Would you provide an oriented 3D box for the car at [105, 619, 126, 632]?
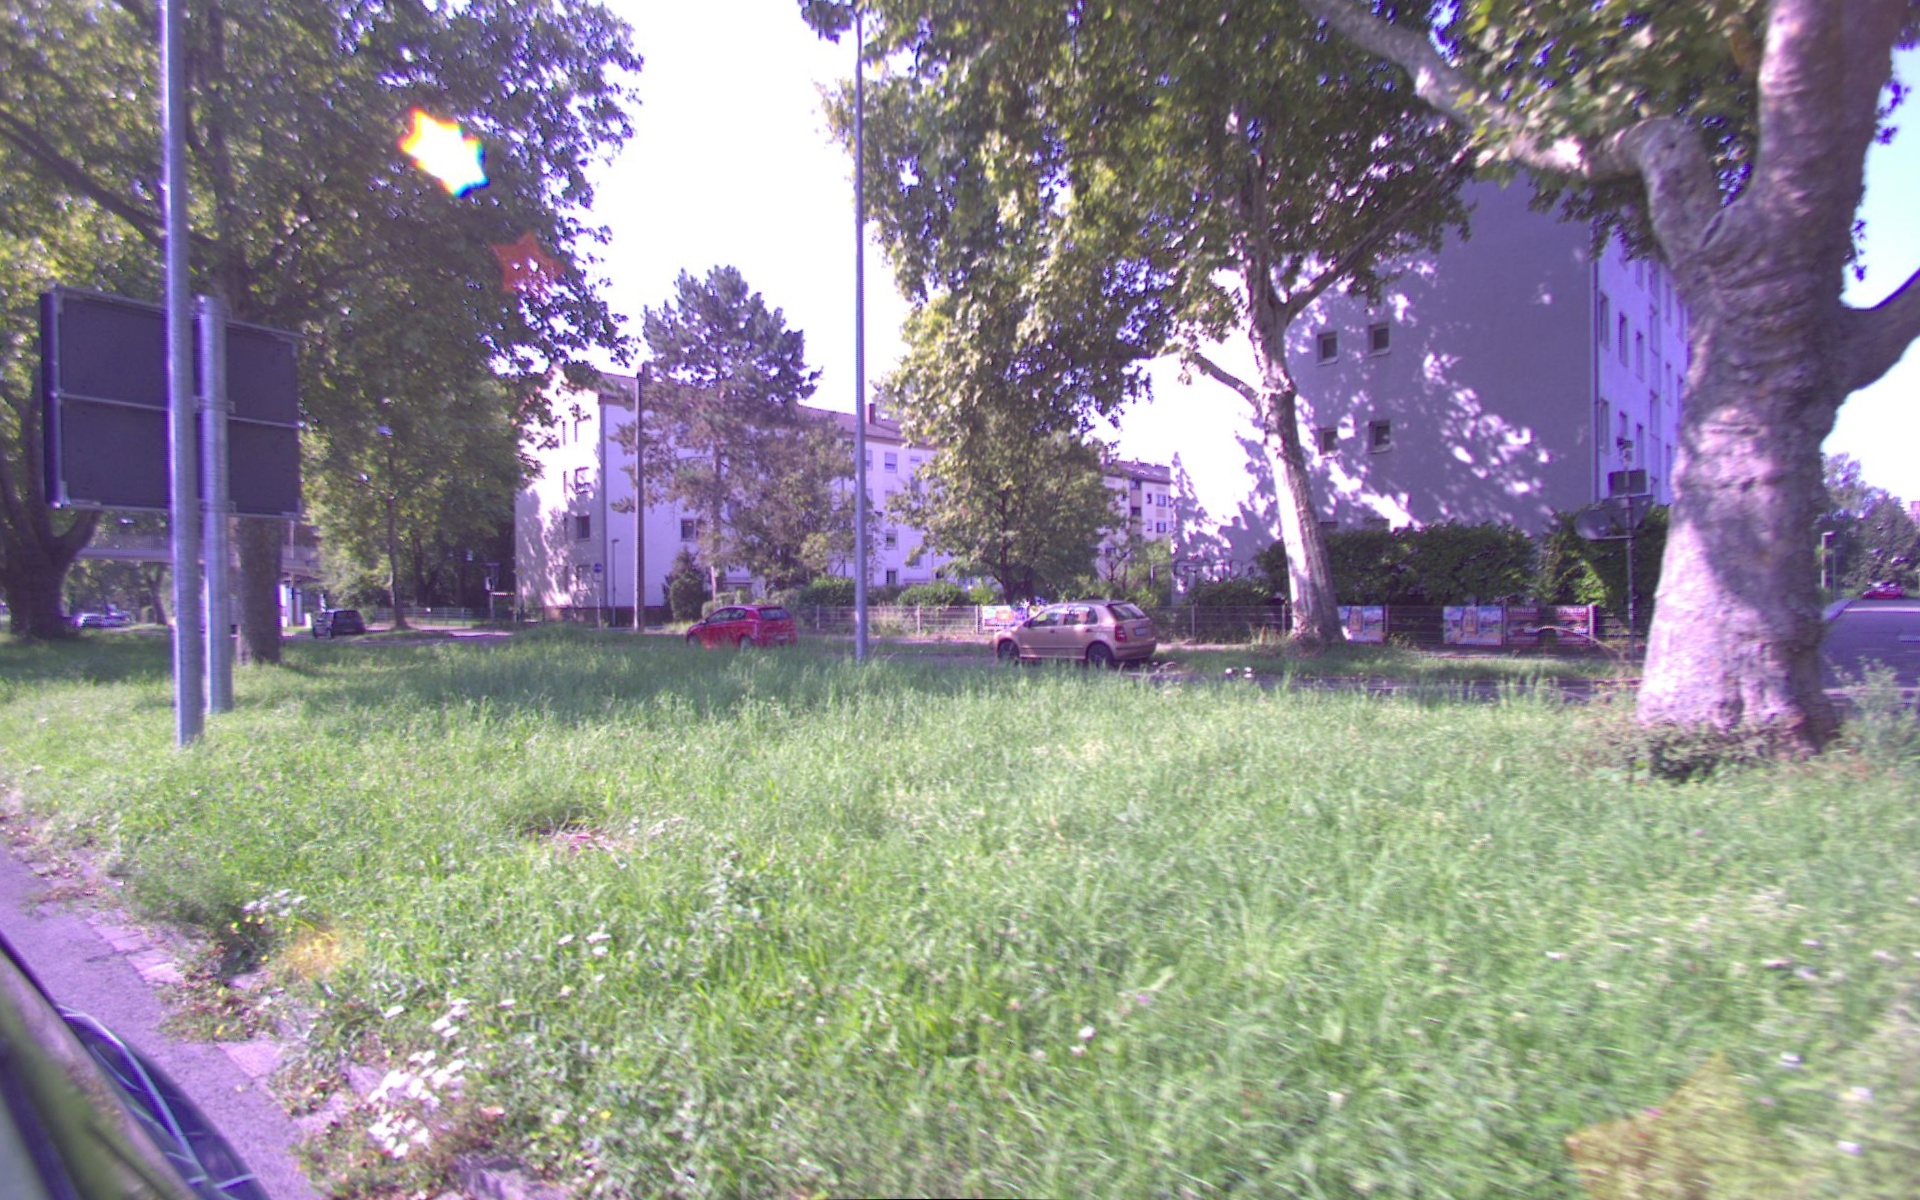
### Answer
[{"bbox_3d":[-100.680,3.010,120.675,1.626,1.490,3.901,-1,1,-45],"label":"car"}]

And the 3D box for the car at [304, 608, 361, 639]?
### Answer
[{"bbox_3d":[-33.265,1.223,53.634,3.862,1.544,1.507,0,0,41],"label":"car"}]

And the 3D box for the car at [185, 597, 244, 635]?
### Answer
[{"bbox_3d":[-52.895,1.098,71.766,6.265,2.448,2.184,-1,3,43],"label":"car"}]

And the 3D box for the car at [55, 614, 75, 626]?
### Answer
[{"bbox_3d":[-125.739,2.758,142.214,4.458,1.544,1.767,-1,1,45],"label":"car"}]

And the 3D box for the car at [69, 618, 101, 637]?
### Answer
[{"bbox_3d":[-86.389,2.708,99.889,4.718,1.733,1.783,-1,-1,42],"label":"car"}]

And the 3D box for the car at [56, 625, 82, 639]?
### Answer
[{"bbox_3d":[-101.199,3.632,114.911,4.067,1.544,1.673,-1,0,41],"label":"car"}]

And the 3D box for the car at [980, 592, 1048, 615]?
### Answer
[{"bbox_3d":[3.288,0.210,61.817,3.999,1.342,1.631,-1,1,42],"label":"car"}]

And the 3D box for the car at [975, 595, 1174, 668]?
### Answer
[{"bbox_3d":[2.453,0.655,22.254,4.063,1.441,1.783,-1,0,42],"label":"car"}]

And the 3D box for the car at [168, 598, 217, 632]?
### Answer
[{"bbox_3d":[-58.647,1.130,77.254,2.182,2.498,6.064,-1,1,-45],"label":"car"}]

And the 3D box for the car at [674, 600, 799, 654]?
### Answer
[{"bbox_3d":[-6.651,0.769,29.865,4.063,1.462,1.522,-1,1,42],"label":"car"}]
